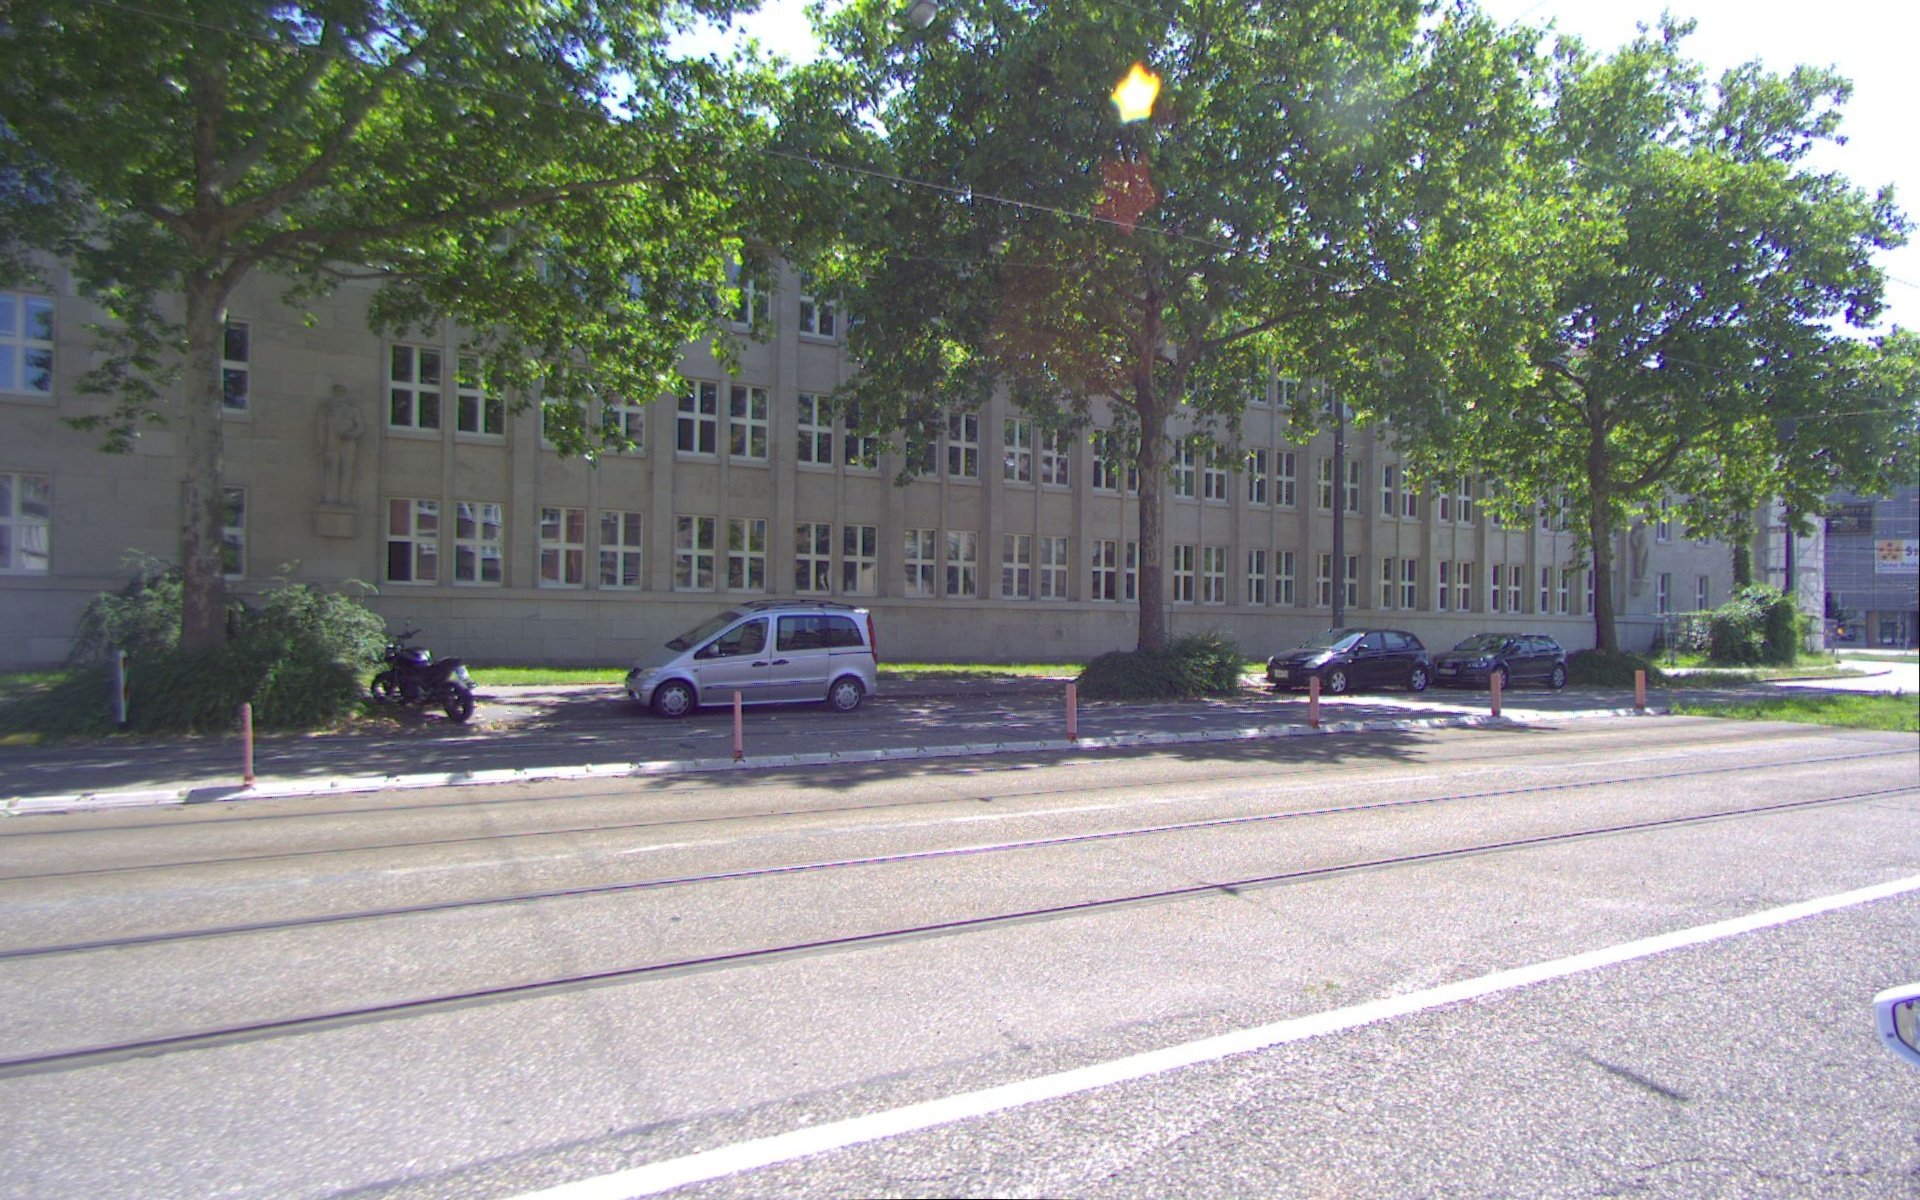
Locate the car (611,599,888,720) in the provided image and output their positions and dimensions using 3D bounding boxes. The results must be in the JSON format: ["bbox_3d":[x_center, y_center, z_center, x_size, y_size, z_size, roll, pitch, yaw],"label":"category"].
[{"bbox_3d":[-3.571,0.942,17.033,4.243,1.835,1.987,1,0,-26],"label":"car"}]

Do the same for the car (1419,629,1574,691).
[{"bbox_3d":[13.896,1.514,25.959,4.274,1.443,1.579,1,0,-31],"label":"car"}]

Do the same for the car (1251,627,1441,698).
[{"bbox_3d":[9.069,1.419,23.572,4.267,1.503,1.756,1,0,-27],"label":"car"}]

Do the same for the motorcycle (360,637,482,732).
[{"bbox_3d":[-7.894,1.203,14.687,1.840,1.082,0.725,7,3,32],"label":"motorcycle"}]
